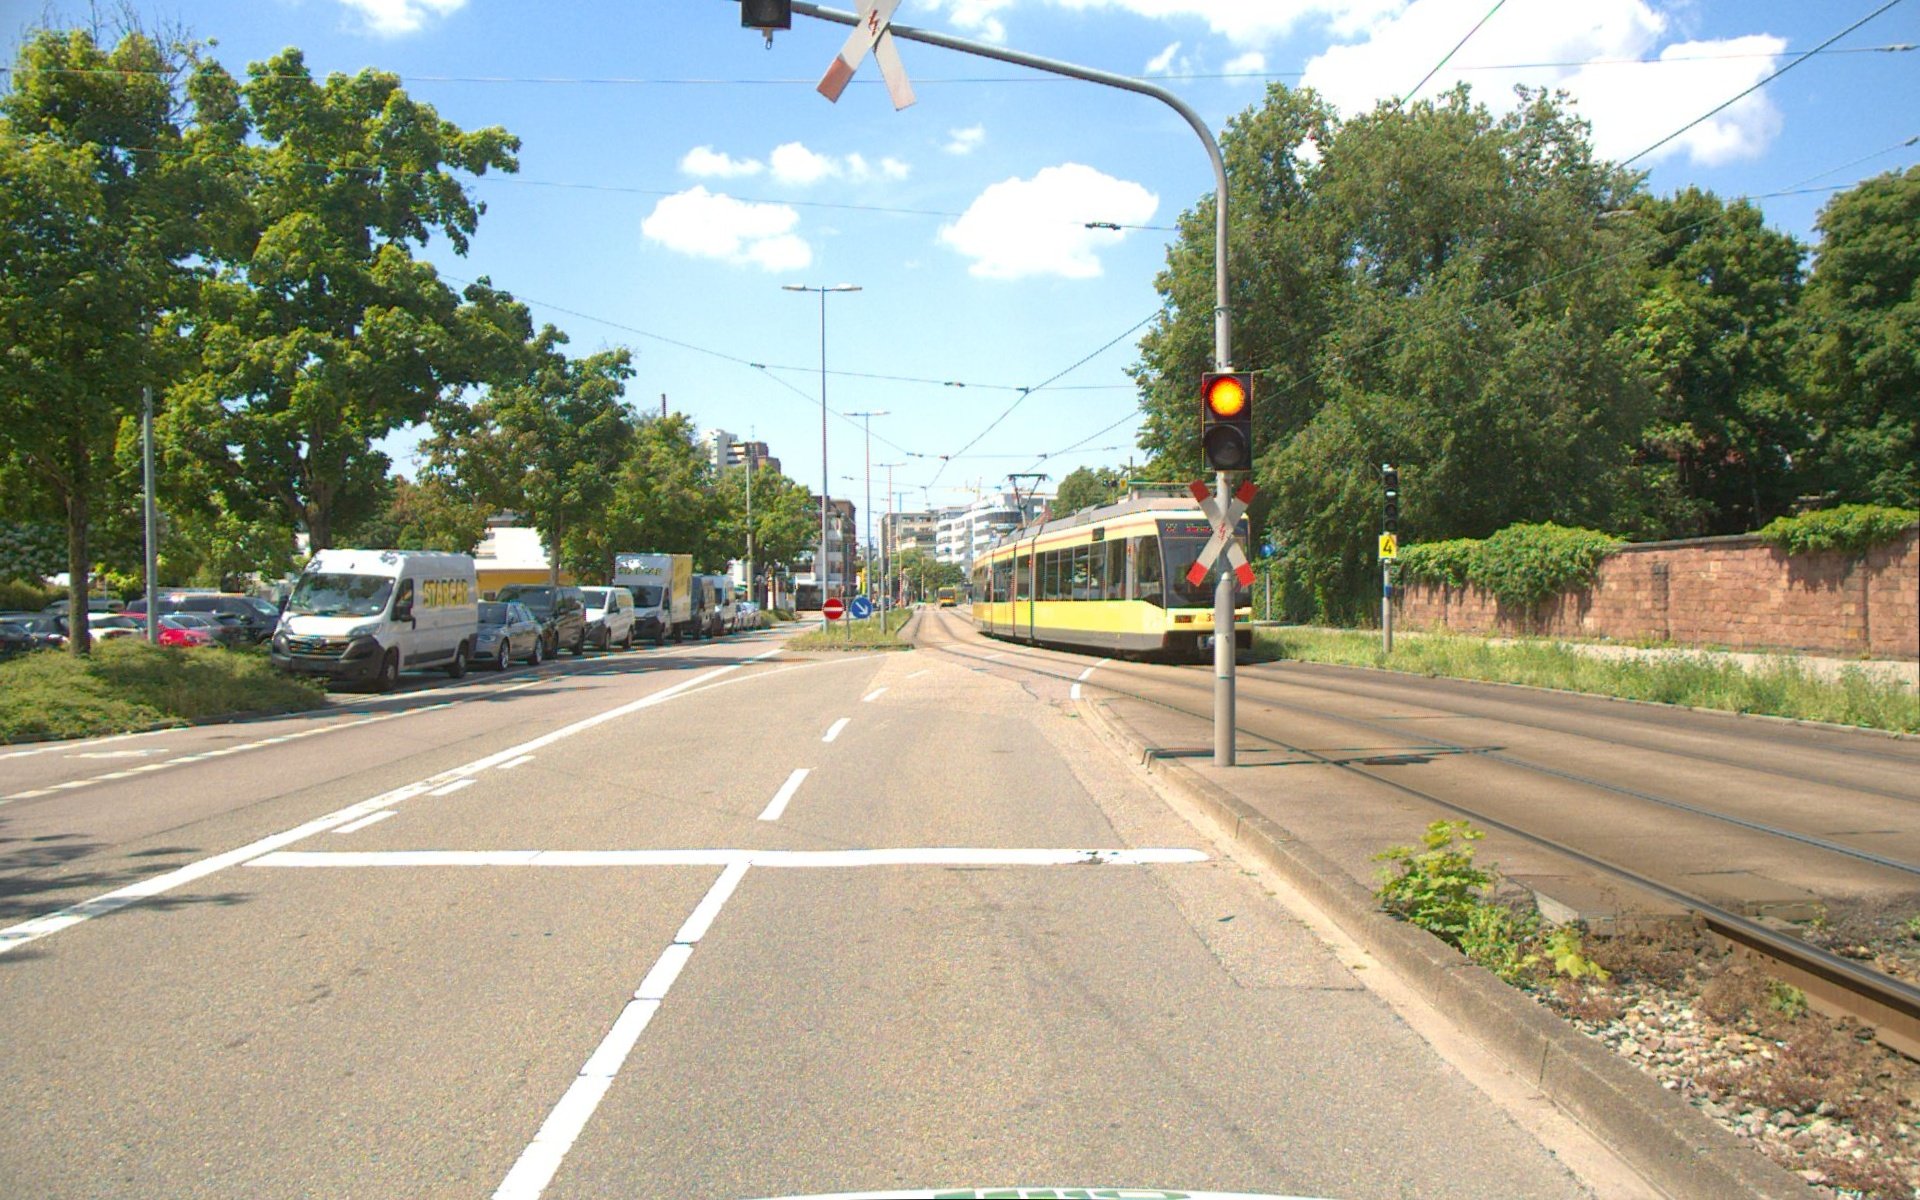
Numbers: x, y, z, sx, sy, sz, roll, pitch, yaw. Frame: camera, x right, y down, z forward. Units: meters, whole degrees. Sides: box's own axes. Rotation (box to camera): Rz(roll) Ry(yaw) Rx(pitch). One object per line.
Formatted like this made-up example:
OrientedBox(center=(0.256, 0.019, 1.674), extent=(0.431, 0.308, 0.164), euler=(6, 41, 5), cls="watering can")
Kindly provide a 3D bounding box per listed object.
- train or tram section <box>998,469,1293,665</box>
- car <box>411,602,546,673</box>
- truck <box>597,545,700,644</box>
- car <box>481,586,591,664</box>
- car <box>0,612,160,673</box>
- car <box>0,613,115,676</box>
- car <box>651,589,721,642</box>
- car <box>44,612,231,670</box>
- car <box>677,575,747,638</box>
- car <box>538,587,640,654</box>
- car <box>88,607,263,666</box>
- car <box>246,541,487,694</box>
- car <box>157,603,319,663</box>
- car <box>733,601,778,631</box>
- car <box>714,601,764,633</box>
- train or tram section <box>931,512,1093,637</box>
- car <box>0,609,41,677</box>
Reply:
OrientedBox(center=(3.805, -0.699, 40.977), extent=(2.888, 3.756, 18.357), euler=(0, 0, -8), cls="train or tram section")
OrientedBox(center=(-10.886, 0.804, 37.708), extent=(1.830, 1.462, 4.342), euler=(-1, 0, -1), cls="car")
OrientedBox(center=(-11.104, -0.196, 59.474), extent=(2.112, 3.266, 7.083), euler=(2, 0, 1), cls="truck")
OrientedBox(center=(-11.205, 0.616, 44.026), extent=(1.830, 1.928, 4.270), euler=(-1, 0, -1), cls="car")
OrientedBox(center=(-21.920, 1.022, 40.347), extent=(3.907, 1.362, 1.804), euler=(-1, 0, -2), cls="car")
OrientedBox(center=(-21.715, 1.021, 37.714), extent=(3.907, 1.362, 1.804), euler=(-1, 0, -2), cls="car")
OrientedBox(center=(-11.038, 0.591, 66.839), extent=(2.019, 2.011, 4.870), euler=(-1, 0, -1), cls="car")
OrientedBox(center=(-21.301, 1.041, 42.934), extent=(3.907, 1.362, 1.804), euler=(-1, 0, -2), cls="car")
OrientedBox(center=(-11.168, 0.275, 74.879), extent=(2.112, 2.685, 5.612), euler=(2, 0, 1), cls="car")
OrientedBox(center=(-11.336, 0.585, 50.847), extent=(2.019, 1.931, 4.870), euler=(-1, 0, -1), cls="car")
OrientedBox(center=(-21.522, 0.988, 45.503), extent=(3.906, 1.467, 1.804), euler=(-1, 0, -2), cls="car")
OrientedBox(center=(-10.972, 0.279, 31.198), extent=(2.112, 2.530, 6.194), euler=(2, 0, 1), cls="car")
OrientedBox(center=(-21.041, 0.944, 48.289), extent=(3.907, 1.634, 1.804), euler=(-1, 0, -2), cls="car")
OrientedBox(center=(-11.820, 0.905, 95.719), extent=(2.019, 1.609, 4.870), euler=(-1, 0, -1), cls="car")
OrientedBox(center=(-11.753, 0.879, 88.402), extent=(2.019, 1.609, 4.870), euler=(-1, 0, -1), cls="car")
OrientedBox(center=(1.403, -0.853, 60.052), extent=(2.887, 3.756, 20.253), euler=(0, 0, -7), cls="train or tram section")
OrientedBox(center=(-21.521, 0.917, 34.257), extent=(3.907, 1.362, 1.804), euler=(-1, 0, -2), cls="car")
